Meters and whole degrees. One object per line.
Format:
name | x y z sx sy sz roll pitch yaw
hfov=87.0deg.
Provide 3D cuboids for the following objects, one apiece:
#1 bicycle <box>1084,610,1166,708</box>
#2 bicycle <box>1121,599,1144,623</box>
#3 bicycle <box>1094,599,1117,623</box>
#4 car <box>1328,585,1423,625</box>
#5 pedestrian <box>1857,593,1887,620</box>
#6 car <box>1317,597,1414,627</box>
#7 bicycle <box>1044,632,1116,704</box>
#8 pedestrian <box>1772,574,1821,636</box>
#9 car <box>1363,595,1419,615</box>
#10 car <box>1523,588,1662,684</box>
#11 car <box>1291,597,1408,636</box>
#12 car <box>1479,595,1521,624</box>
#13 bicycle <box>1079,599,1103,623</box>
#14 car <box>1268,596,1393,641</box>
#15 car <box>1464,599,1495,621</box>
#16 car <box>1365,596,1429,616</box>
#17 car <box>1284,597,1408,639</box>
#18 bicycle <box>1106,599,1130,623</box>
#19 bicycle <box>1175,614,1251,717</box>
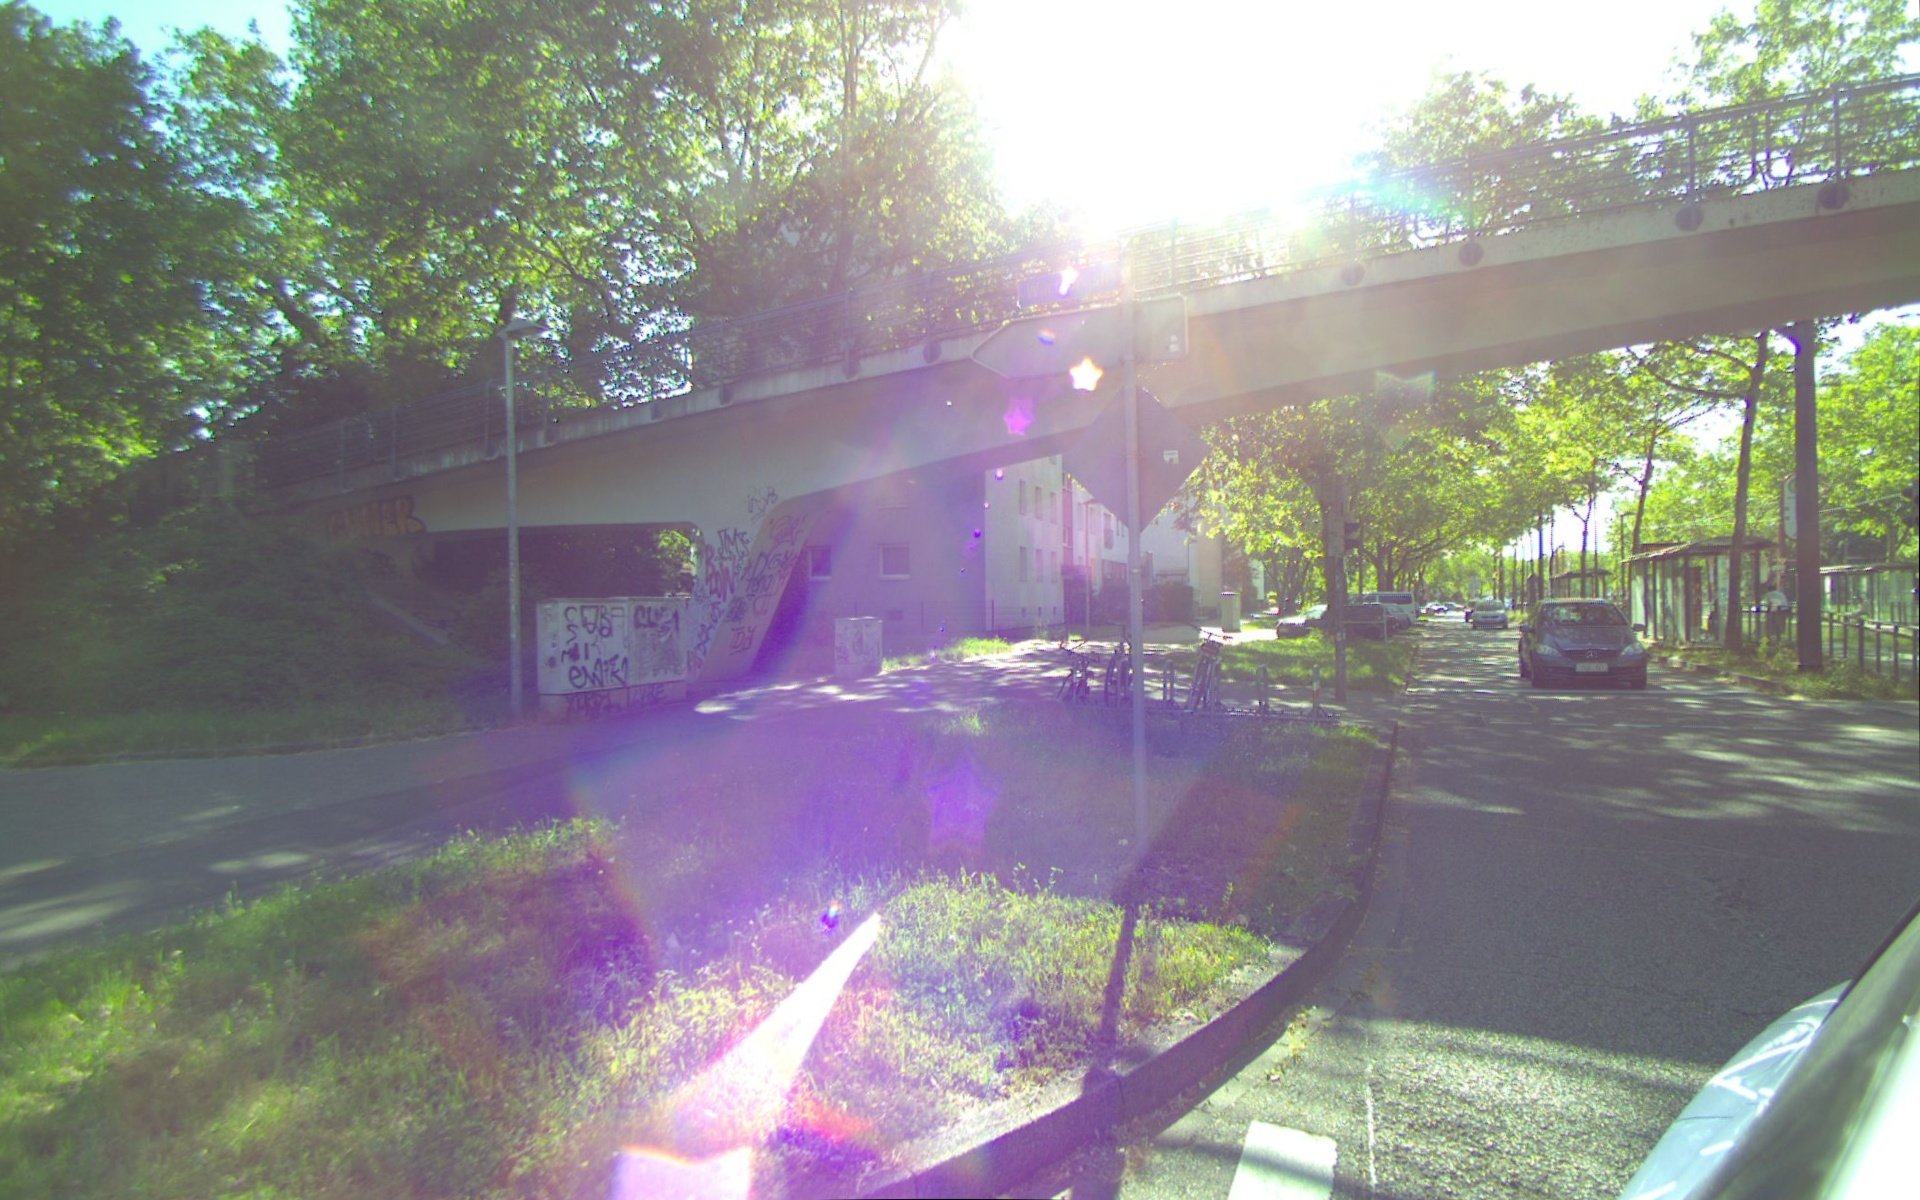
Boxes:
bicycle | 2.237 0.746 13.554 0.586 1.198 1.784 2 0 25
bicycle | 8.004 0.499 46.854 0.586 1.122 1.784 -1 0 26
bicycle | 6.855 0.513 47.595 0.586 1.122 1.784 -1 0 26
car | 22.994 0.295 56.109 4.493 2.078 2.022 1 1 -13
pedestrian | 41.573 0.284 46.132 0.761 1.198 0.756 3 1 26
car | 21.249 0.608 53.119 4.493 1.441 1.804 1 1 -15
bicycle | 1.625 0.882 13.580 0.501 0.863 1.460 3 0 25
pedestrian | 19.967 0.124 24.171 0.719 1.435 0.676 -2 -1 26
car | 35.564 0.397 83.527 3.916 1.596 1.804 1 0 -14
car | 11.830 0.626 19.164 1.782 1.610 3.729 -2 -1 26
car | 16.095 0.672 41.861 4.167 1.480 1.804 1 1 -13
car | 29.988 0.530 56.262 1.780 1.558 3.966 0 0 24
bicycle | 6.221 0.530 47.897 0.586 1.122 1.784 -1 0 26
car | 13.285 0.662 36.316 3.915 1.480 1.804 1 1 -18
car | 38.644 0.731 75.320 1.780 1.530 3.966 -3 -1 24
car | 34.323 0.474 79.493 4.493 1.441 1.804 1 0 -19
car | 14.899 0.688 39.109 4.167 1.480 1.804 1 1 -14
bicycle | 7.388 0.512 47.204 0.586 1.122 1.784 -1 0 26
bicycle | 3.295 0.797 13.065 0.586 1.198 1.784 2 0 25
